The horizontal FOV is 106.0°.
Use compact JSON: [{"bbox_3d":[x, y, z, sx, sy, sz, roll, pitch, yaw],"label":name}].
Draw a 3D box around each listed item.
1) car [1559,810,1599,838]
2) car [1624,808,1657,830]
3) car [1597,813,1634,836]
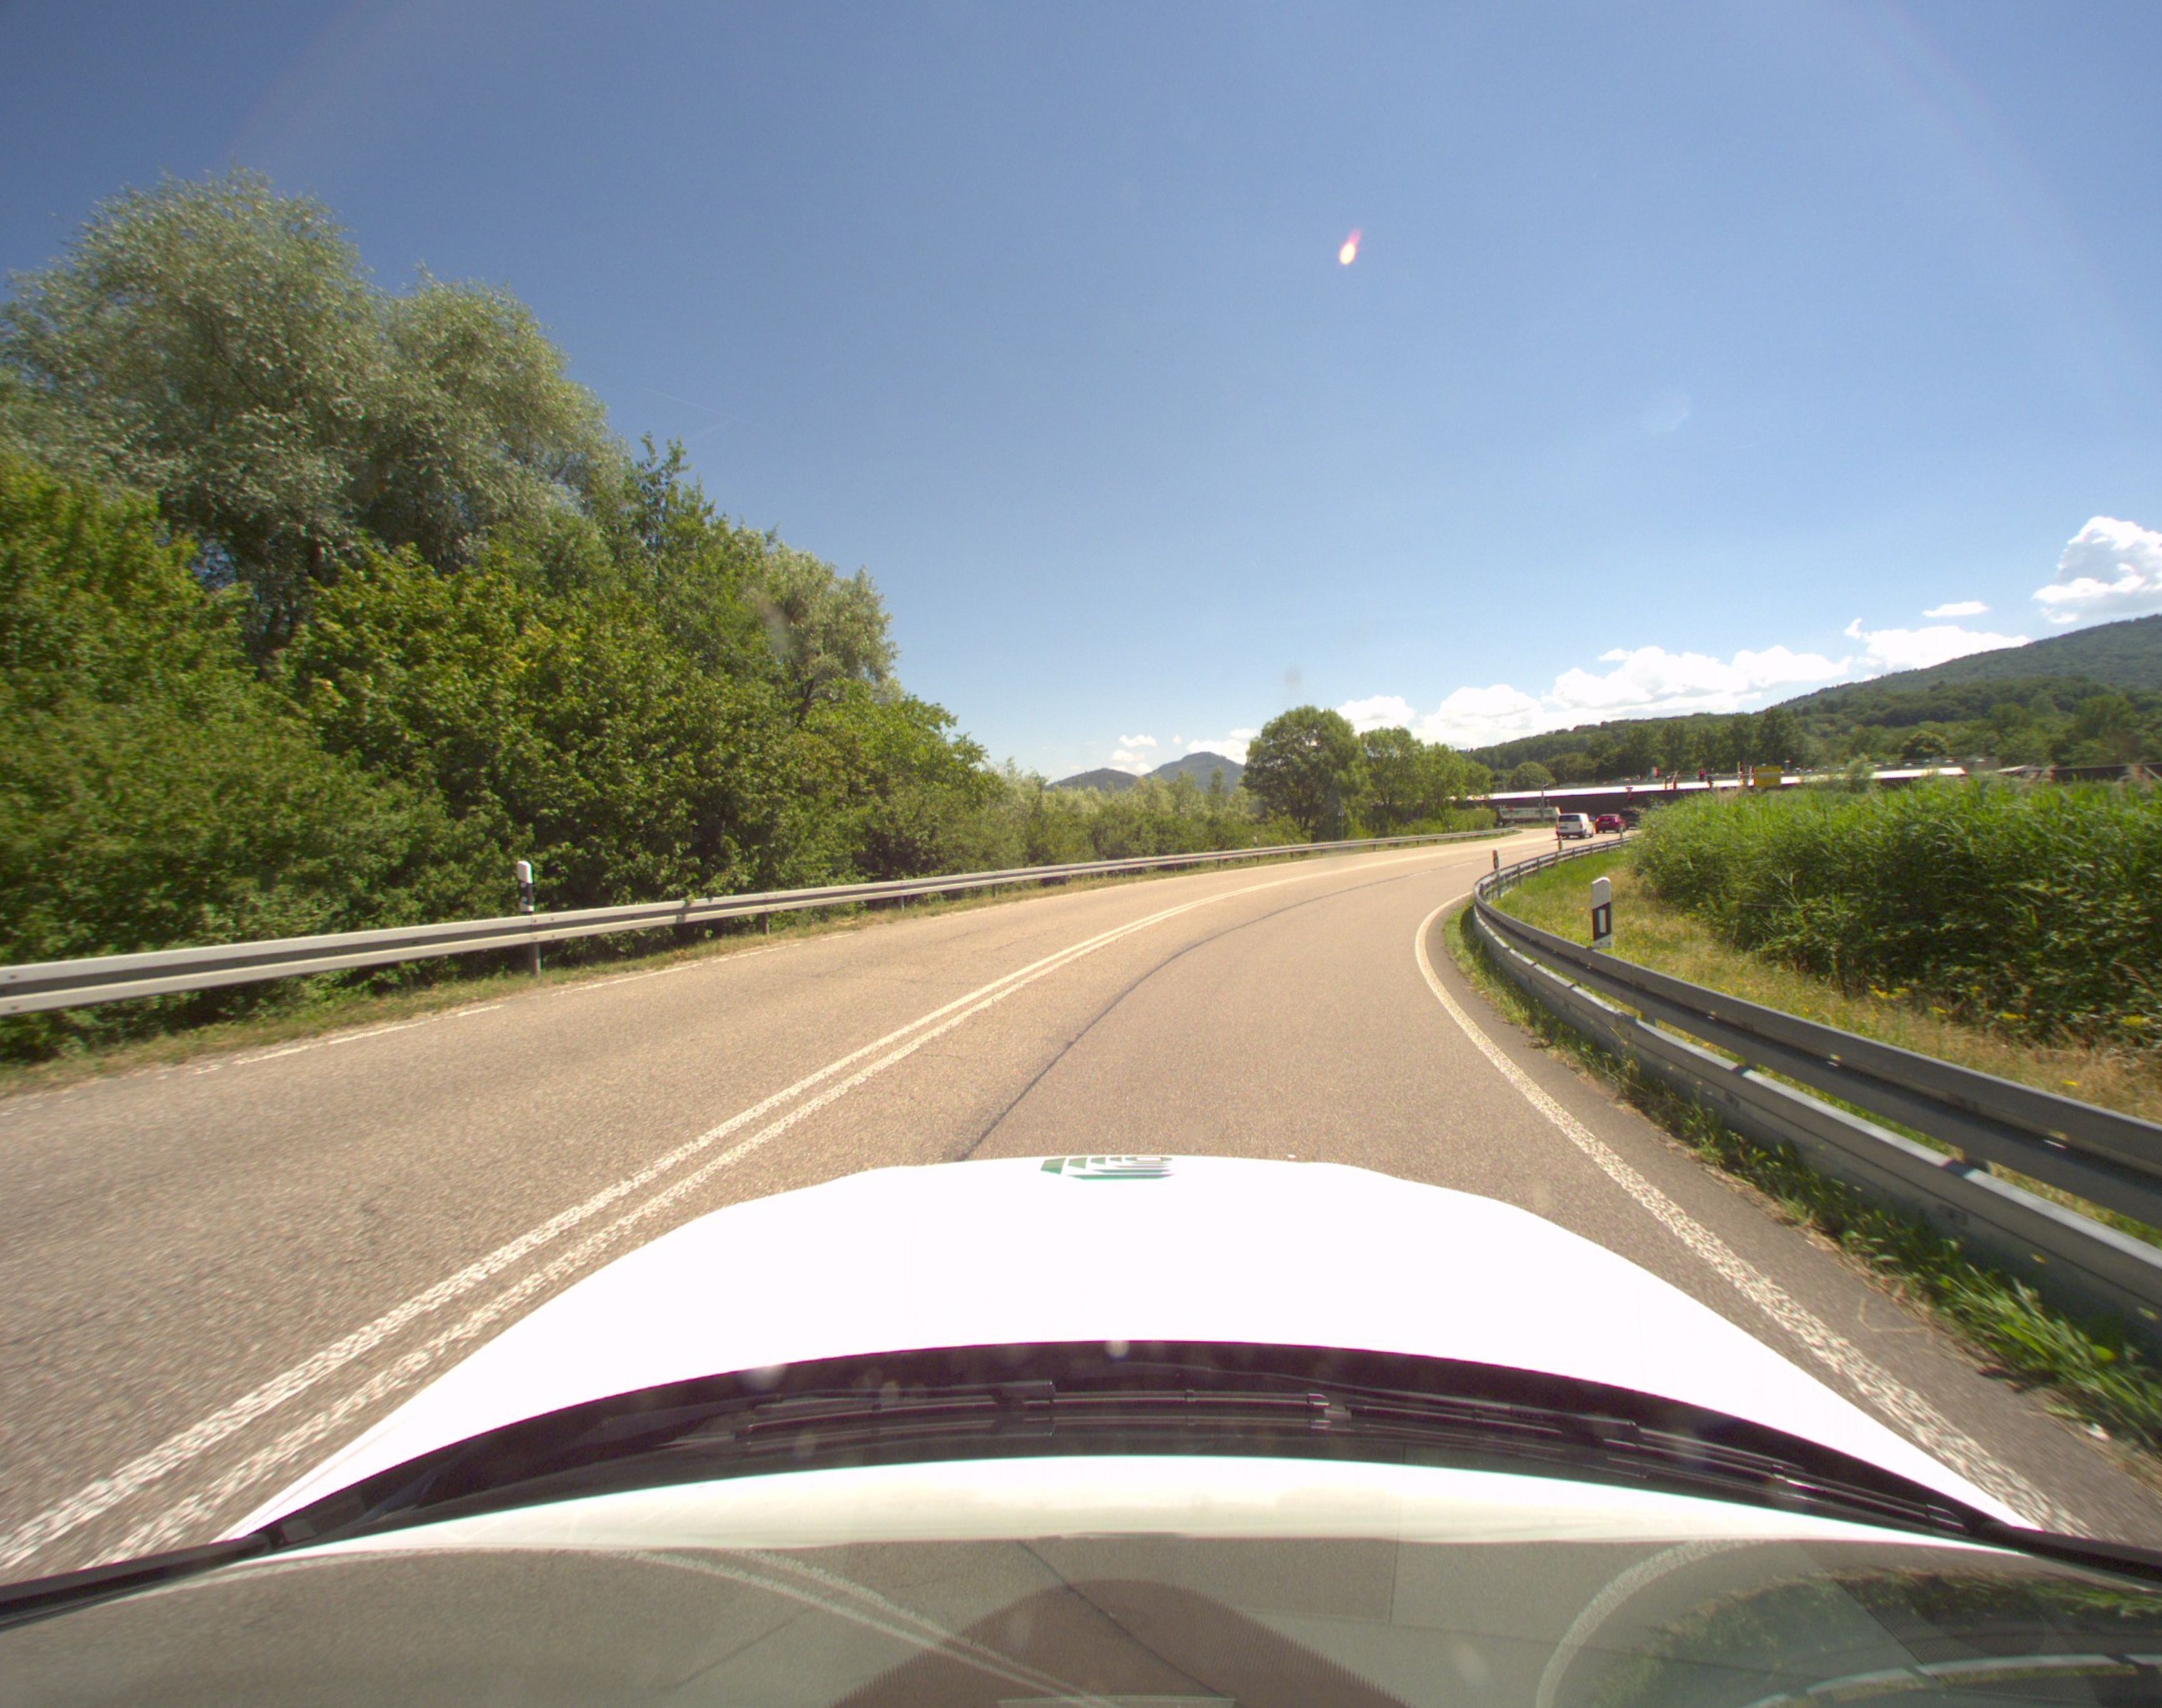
[{"bbox_3d":[37.501,-2.245,61.276,1.853,1.964,4.025,0,2,43],"label":"car"},{"bbox_3d":[53.947,-3.380,78.515,1.975,2.013,4.025,-3,1,43],"label":"car"},{"bbox_3d":[46.698,-2.596,71.080,1.975,1.812,4.025,-3,1,43],"label":"car"}]
